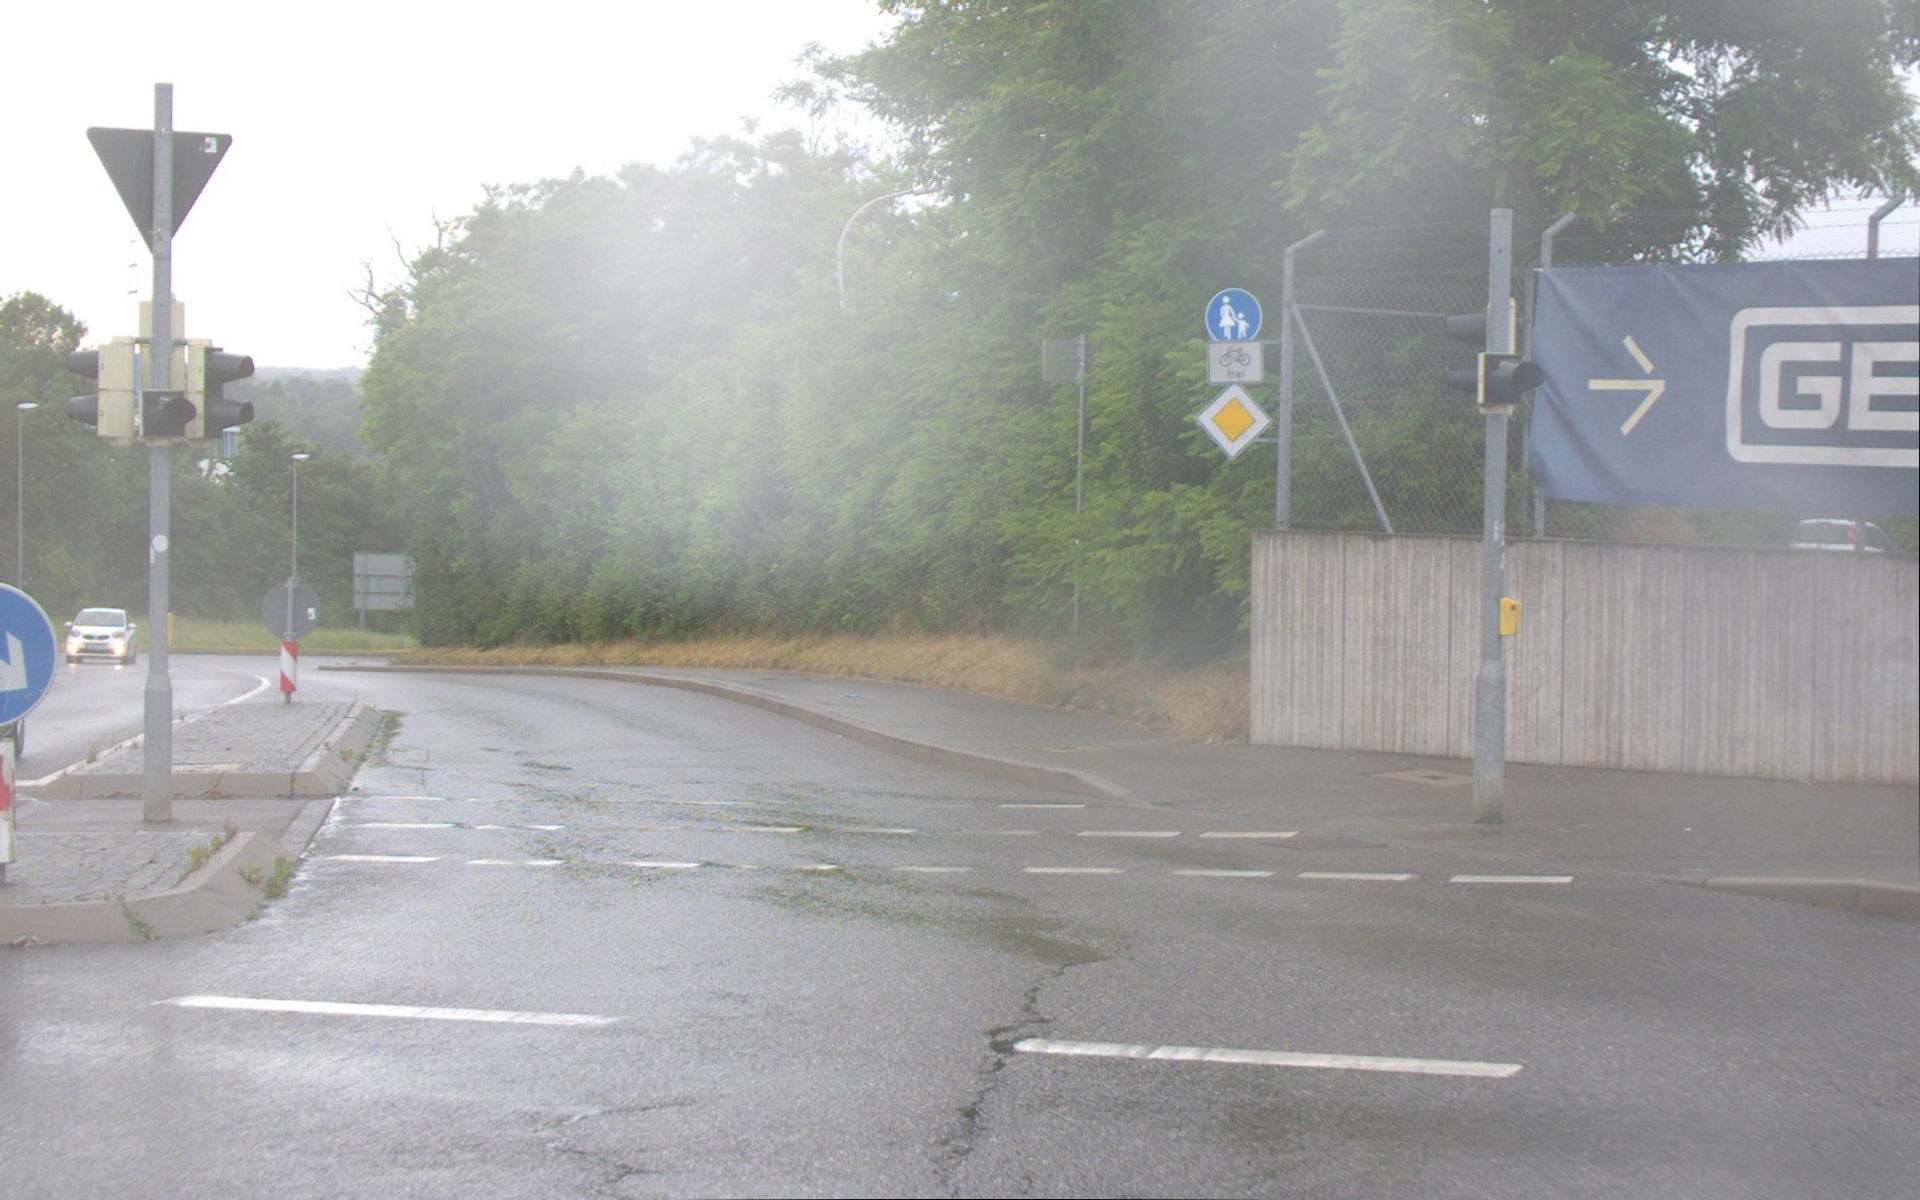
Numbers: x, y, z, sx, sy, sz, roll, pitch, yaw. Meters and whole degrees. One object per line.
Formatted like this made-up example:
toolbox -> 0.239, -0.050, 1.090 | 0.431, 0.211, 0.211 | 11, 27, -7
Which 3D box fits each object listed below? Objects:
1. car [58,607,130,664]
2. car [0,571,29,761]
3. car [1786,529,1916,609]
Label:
car -> -23.039, 0.931, 91.551 | 1.652, 1.424, 3.794 | 1, 1, -11
car -> -8.274, 0.510, 26.432 | 1.661, 1.489, 4.001 | 1, 0, -8
car -> 18.397, -0.633, 70.930 | 1.669, 1.601, 3.524 | 1, 1, 31
